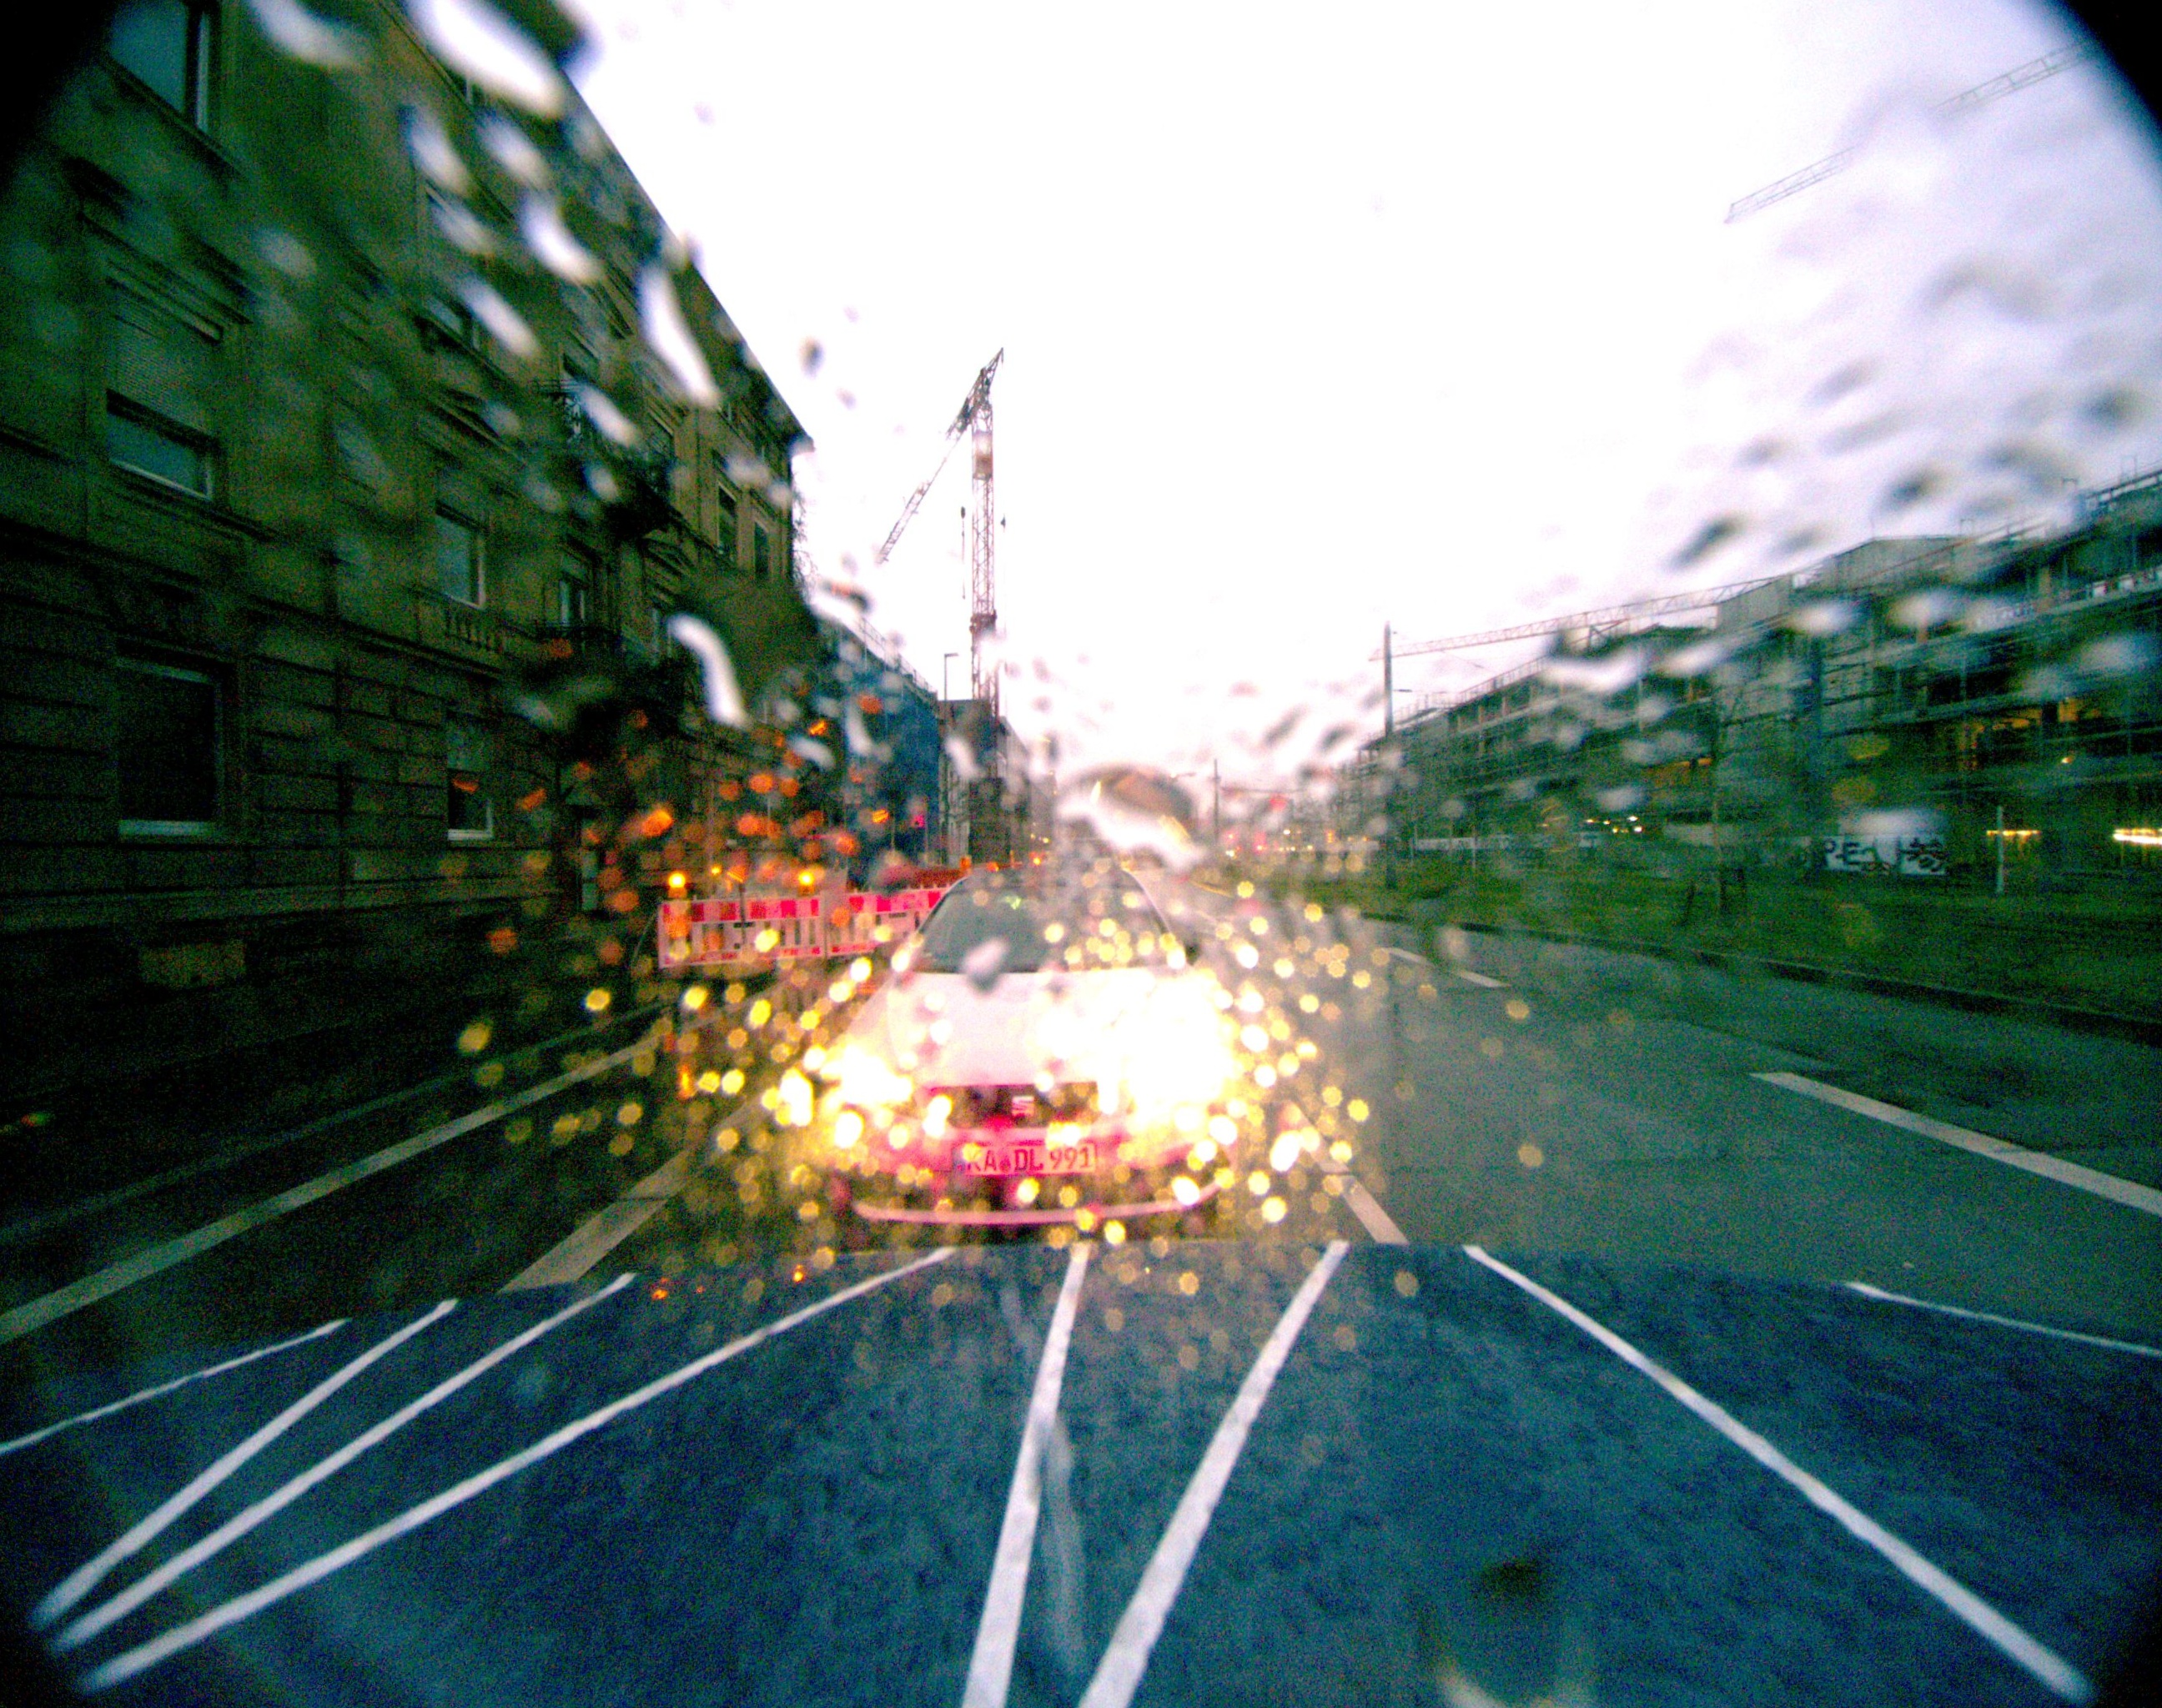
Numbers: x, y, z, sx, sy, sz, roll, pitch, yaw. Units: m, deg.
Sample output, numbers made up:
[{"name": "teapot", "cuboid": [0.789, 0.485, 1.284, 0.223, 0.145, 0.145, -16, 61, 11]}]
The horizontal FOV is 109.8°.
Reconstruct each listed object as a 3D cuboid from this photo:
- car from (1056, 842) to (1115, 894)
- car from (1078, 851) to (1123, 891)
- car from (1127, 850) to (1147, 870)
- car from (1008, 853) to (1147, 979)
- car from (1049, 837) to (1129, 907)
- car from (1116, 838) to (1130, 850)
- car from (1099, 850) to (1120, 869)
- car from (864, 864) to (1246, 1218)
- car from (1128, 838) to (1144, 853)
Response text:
[{"name": "car", "cuboid": [0.121, 0.407, 25.581, 1.769, 1.504, 3.899, -3, 1, 0]}, {"name": "car", "cuboid": [0.777, 0.675, 32.944, 1.769, 1.504, 3.899, -3, 1, 0]}, {"name": "car", "cuboid": [5.136, 0.517, 69.729, 1.768, 1.614, 3.900, -3, 1, 4]}, {"name": "car", "cuboid": [-0.049, 0.818, 12.002, 1.769, 1.504, 3.899, -3, 1, 0]}, {"name": "car", "cuboid": [0.179, 0.371, 19.301, 1.769, 1.504, 3.899, -3, 1, 0]}, {"name": "car", "cuboid": [5.919, -1.395, 107.024, 1.768, 1.614, 3.900, -3, 1, 4]}, {"name": "car", "cuboid": [2.617, 0.506, 69.377, 1.768, 1.504, 3.900, -3, 1, 4]}, {"name": "car", "cuboid": [-0.125, 0.928, 5.610, 1.769, 1.504, 3.899, -3, 1, 0]}, {"name": "car", "cuboid": [6.315, -1.004, 87.332, 1.768, 1.614, 3.900, -3, 1, 4]}]
